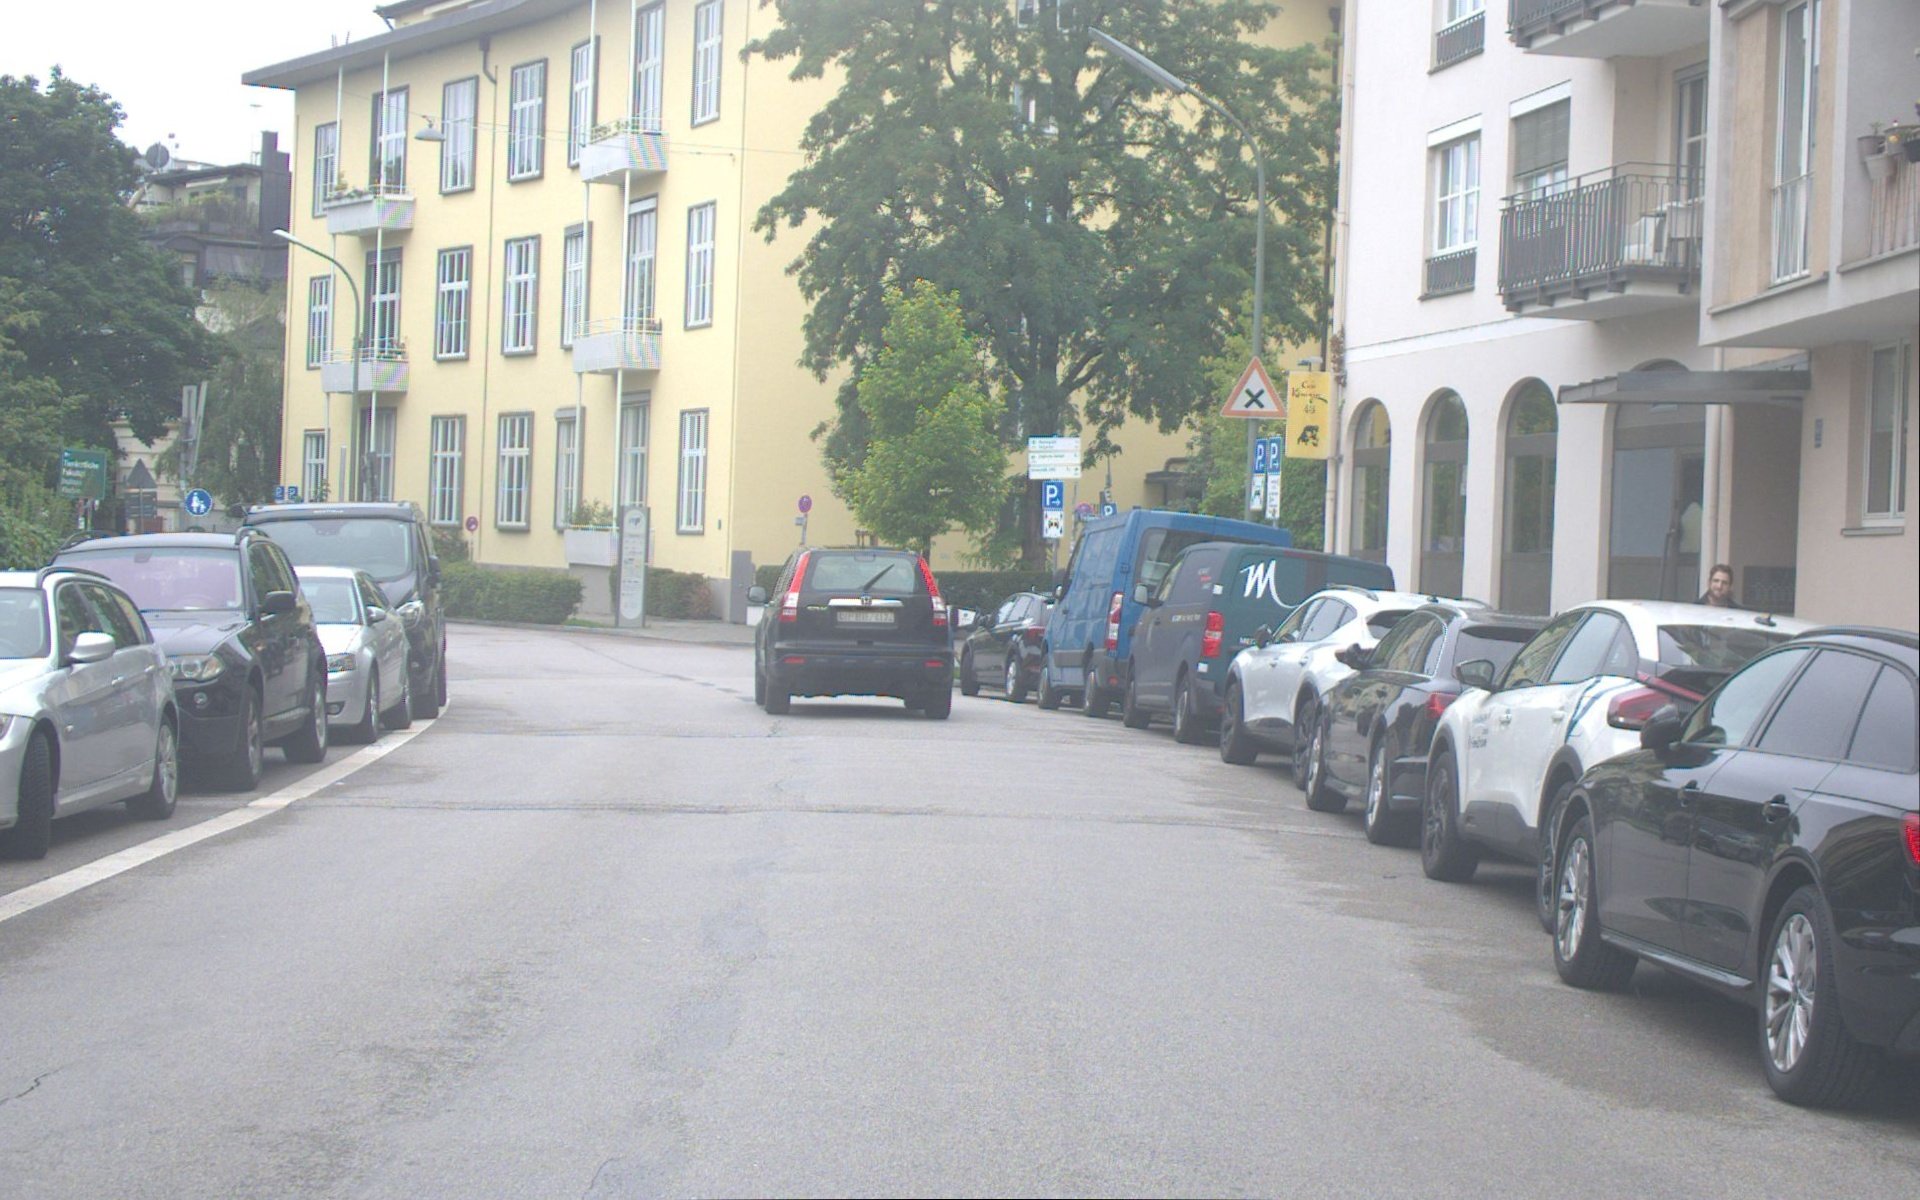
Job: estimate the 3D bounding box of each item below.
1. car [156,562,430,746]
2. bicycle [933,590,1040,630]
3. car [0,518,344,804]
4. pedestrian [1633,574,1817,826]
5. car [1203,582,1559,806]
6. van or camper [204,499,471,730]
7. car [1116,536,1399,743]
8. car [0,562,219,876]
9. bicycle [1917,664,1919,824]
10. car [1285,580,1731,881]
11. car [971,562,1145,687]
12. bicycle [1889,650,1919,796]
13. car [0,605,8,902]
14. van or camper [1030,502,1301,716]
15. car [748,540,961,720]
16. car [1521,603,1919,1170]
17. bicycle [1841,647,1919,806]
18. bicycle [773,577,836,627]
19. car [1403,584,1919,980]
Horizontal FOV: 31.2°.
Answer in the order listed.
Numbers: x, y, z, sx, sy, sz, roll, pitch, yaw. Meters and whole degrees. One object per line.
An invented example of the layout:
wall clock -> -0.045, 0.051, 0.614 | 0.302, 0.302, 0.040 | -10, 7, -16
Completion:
car -> -5.434, 0.389, 28.421 | 1.619, 1.373, 4.072 | -1, 1, -2
bicycle -> 0.579, 0.208, 74.850 | 2.211, 0.776, 0.610 | 2, 1, 12
car -> -5.266, 0.334, 23.078 | 1.619, 1.724, 4.425 | -1, 1, -2
pedestrian -> 5.297, 0.670, 23.882 | 0.898, 1.682, 1.320 | 1, 1, -3
car -> 3.182, 0.670, 26.837 | 1.738, 1.532, 4.274 | 1, 1, -7
van or camper -> -5.919, 0.089, 33.226 | 1.960, 2.058, 4.754 | -1, 1, -3
car -> 2.727, 0.310, 32.671 | 1.964, 1.810, 4.936 | 0, 1, -4
car -> -5.207, 0.542, 17.972 | 1.701, 1.418, 4.425 | -1, 1, 0
bicycle -> 6.430, 0.939, 21.460 | 0.483, 1.020, 1.401 | 1, 1, -1
car -> 3.246, 0.714, 21.269 | 1.739, 1.494, 4.496 | 4, 1, -3
car -> 1.221, 0.285, 44.468 | 1.703, 1.513, 3.959 | 0, 1, -7
bicycle -> 7.026, 0.886, 24.508 | 0.390, 1.020, 1.401 | 1, 1, -1
car -> -5.059, 0.400, 12.253 | 1.993, 1.869, 4.758 | -1, 1, 0
van or camper -> 2.195, 0.054, 38.488 | 2.060, 2.223, 5.439 | 0, 1, -7
car -> -1.001, 0.251, 34.581 | 1.995, 1.688, 4.380 | 0, 1, 0
car -> 3.287, 0.840, 11.420 | 1.796, 1.415, 4.483 | 5, 1, -3
bicycle -> 7.261, 0.953, 26.330 | 0.532, 1.129, 1.409 | 1, 1, -5
bicycle -> -3.546, 0.031, 78.110 | 0.608, 1.069, 2.218 | 1, 1, -25
car -> 3.398, 0.759, 16.382 | 1.739, 1.494, 4.220 | 4, 1, -3
